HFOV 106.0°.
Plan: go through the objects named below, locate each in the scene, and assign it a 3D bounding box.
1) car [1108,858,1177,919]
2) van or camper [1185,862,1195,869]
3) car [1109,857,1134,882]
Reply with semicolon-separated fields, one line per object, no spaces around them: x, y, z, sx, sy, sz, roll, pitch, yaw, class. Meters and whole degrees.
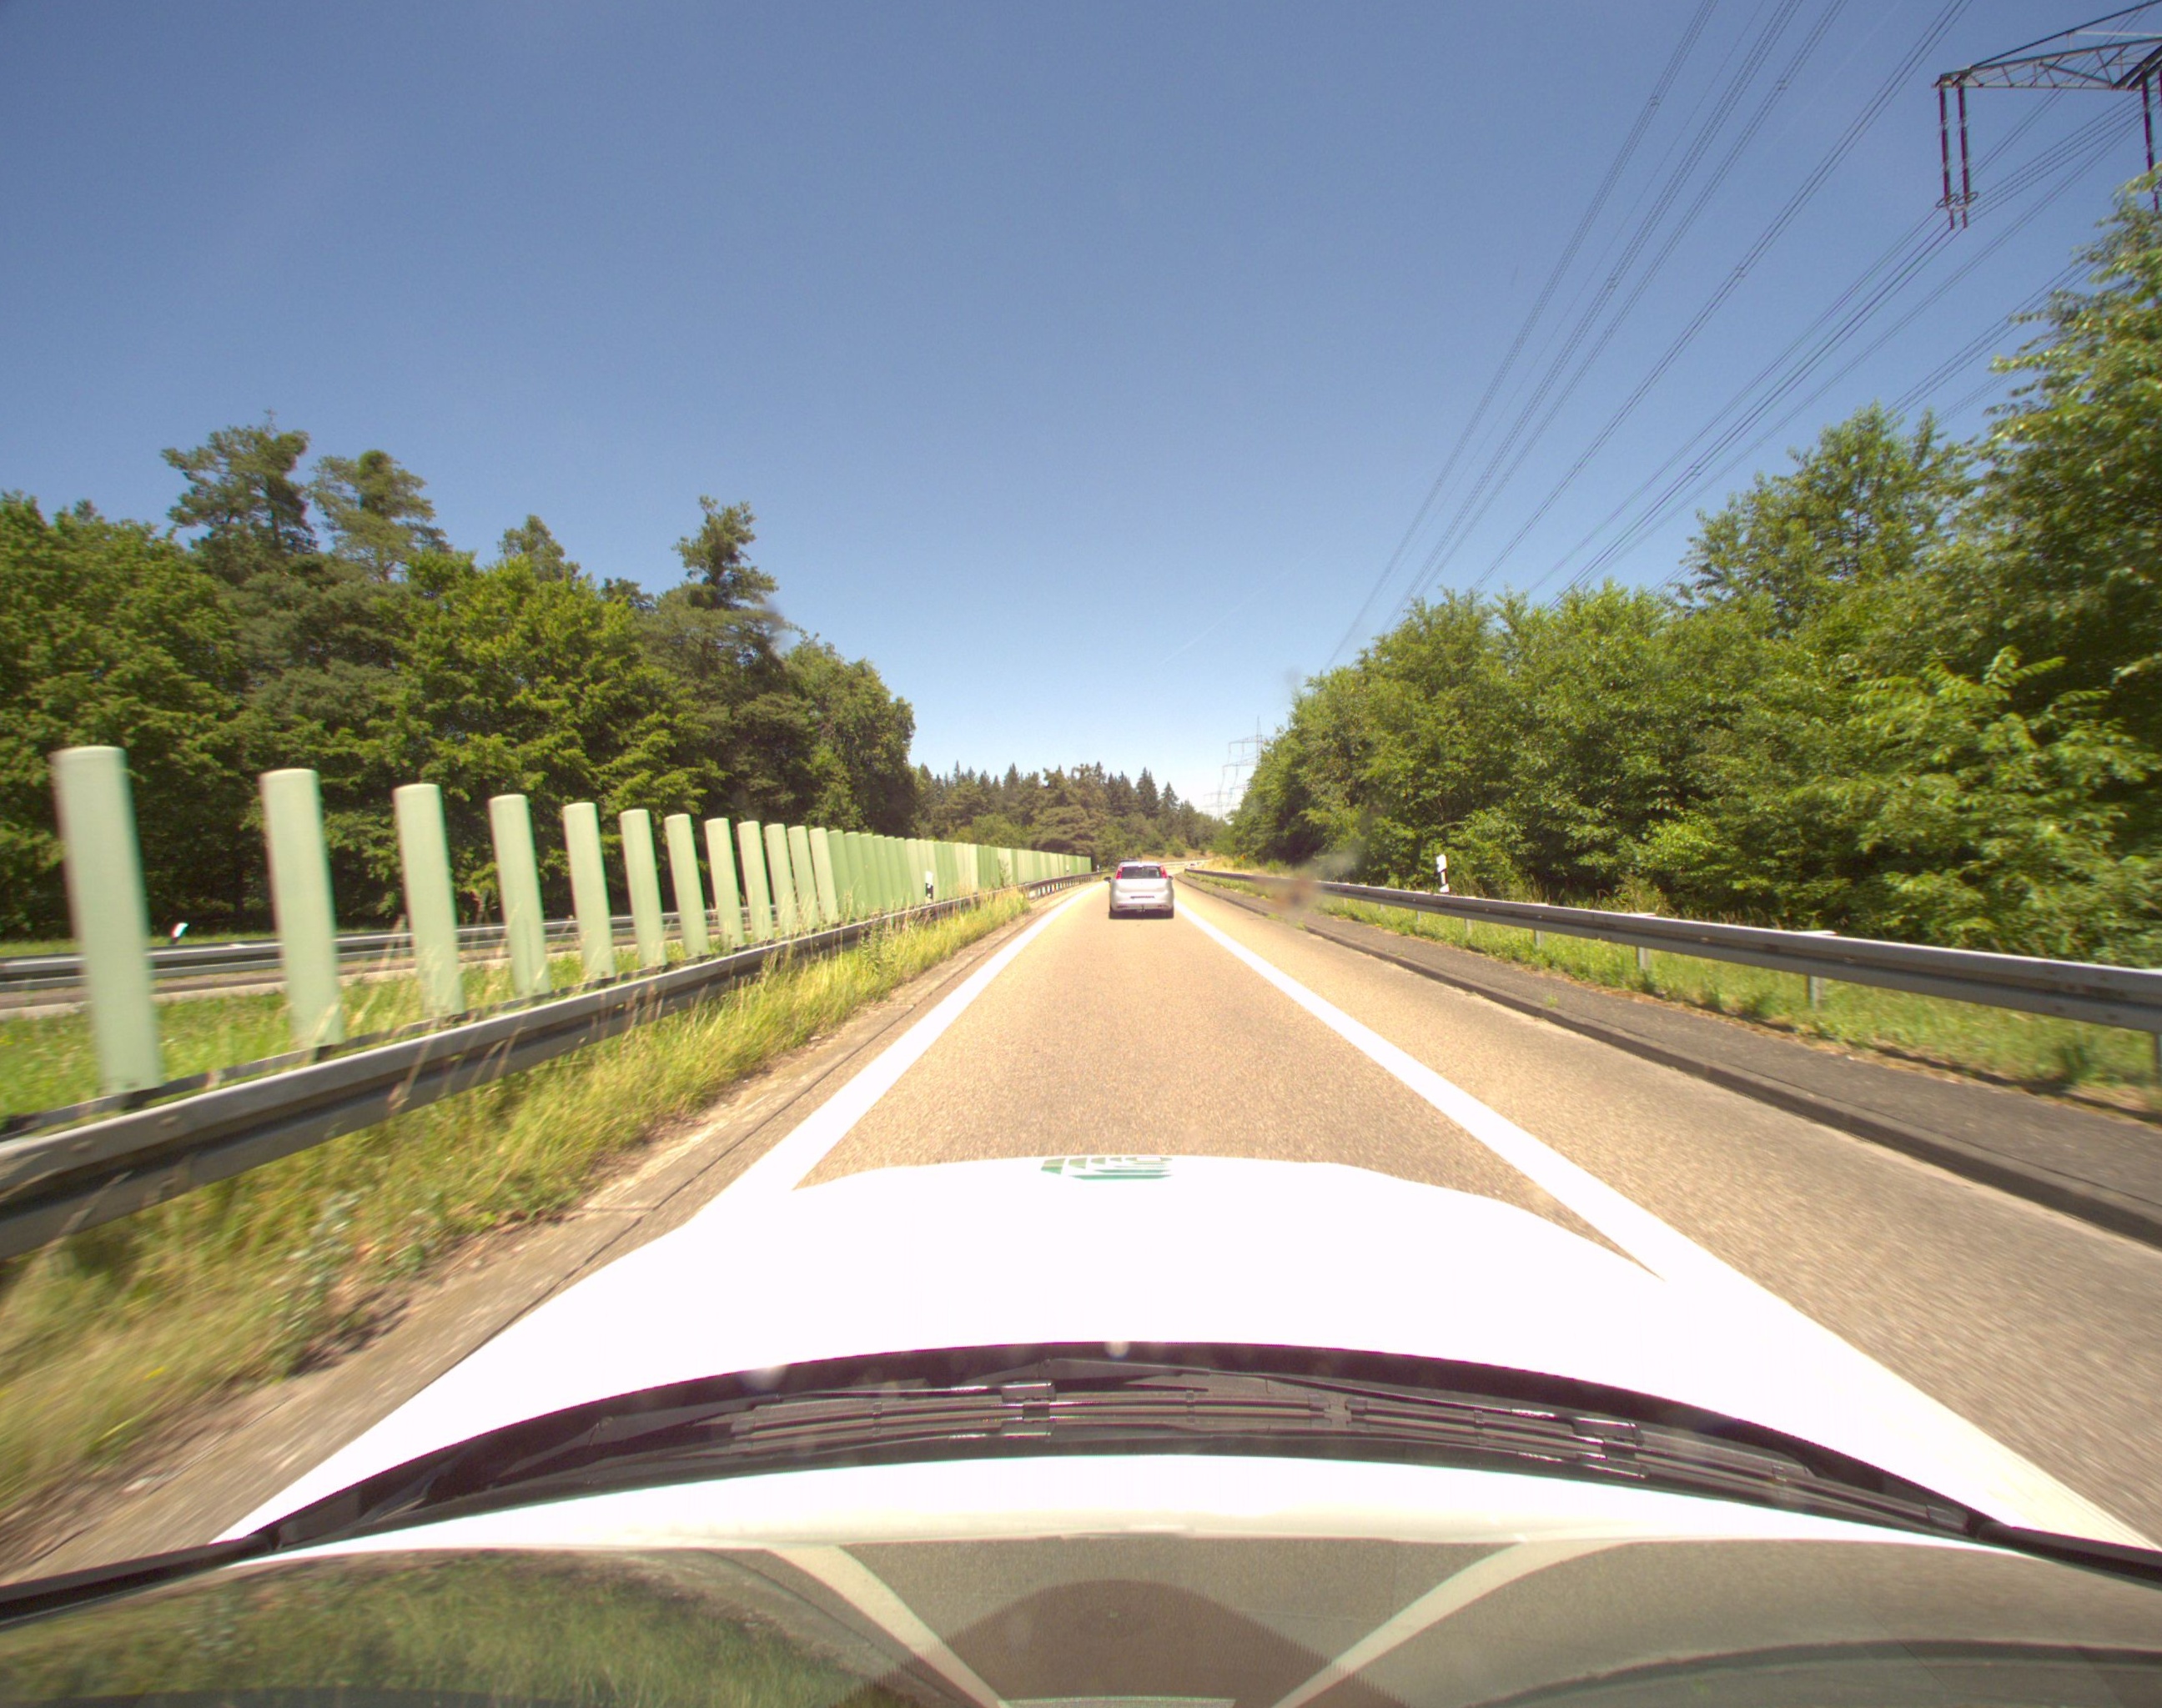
1.685;0.871;22.006;1.698;1.482;3.403;-1;0;5;car
23.544;2.496;176.237;1.794;1.486;4.015;-2;0;13;van or camper
2.848;1.090;57.543;1.699;1.676;3.400;-1;0;3;car
